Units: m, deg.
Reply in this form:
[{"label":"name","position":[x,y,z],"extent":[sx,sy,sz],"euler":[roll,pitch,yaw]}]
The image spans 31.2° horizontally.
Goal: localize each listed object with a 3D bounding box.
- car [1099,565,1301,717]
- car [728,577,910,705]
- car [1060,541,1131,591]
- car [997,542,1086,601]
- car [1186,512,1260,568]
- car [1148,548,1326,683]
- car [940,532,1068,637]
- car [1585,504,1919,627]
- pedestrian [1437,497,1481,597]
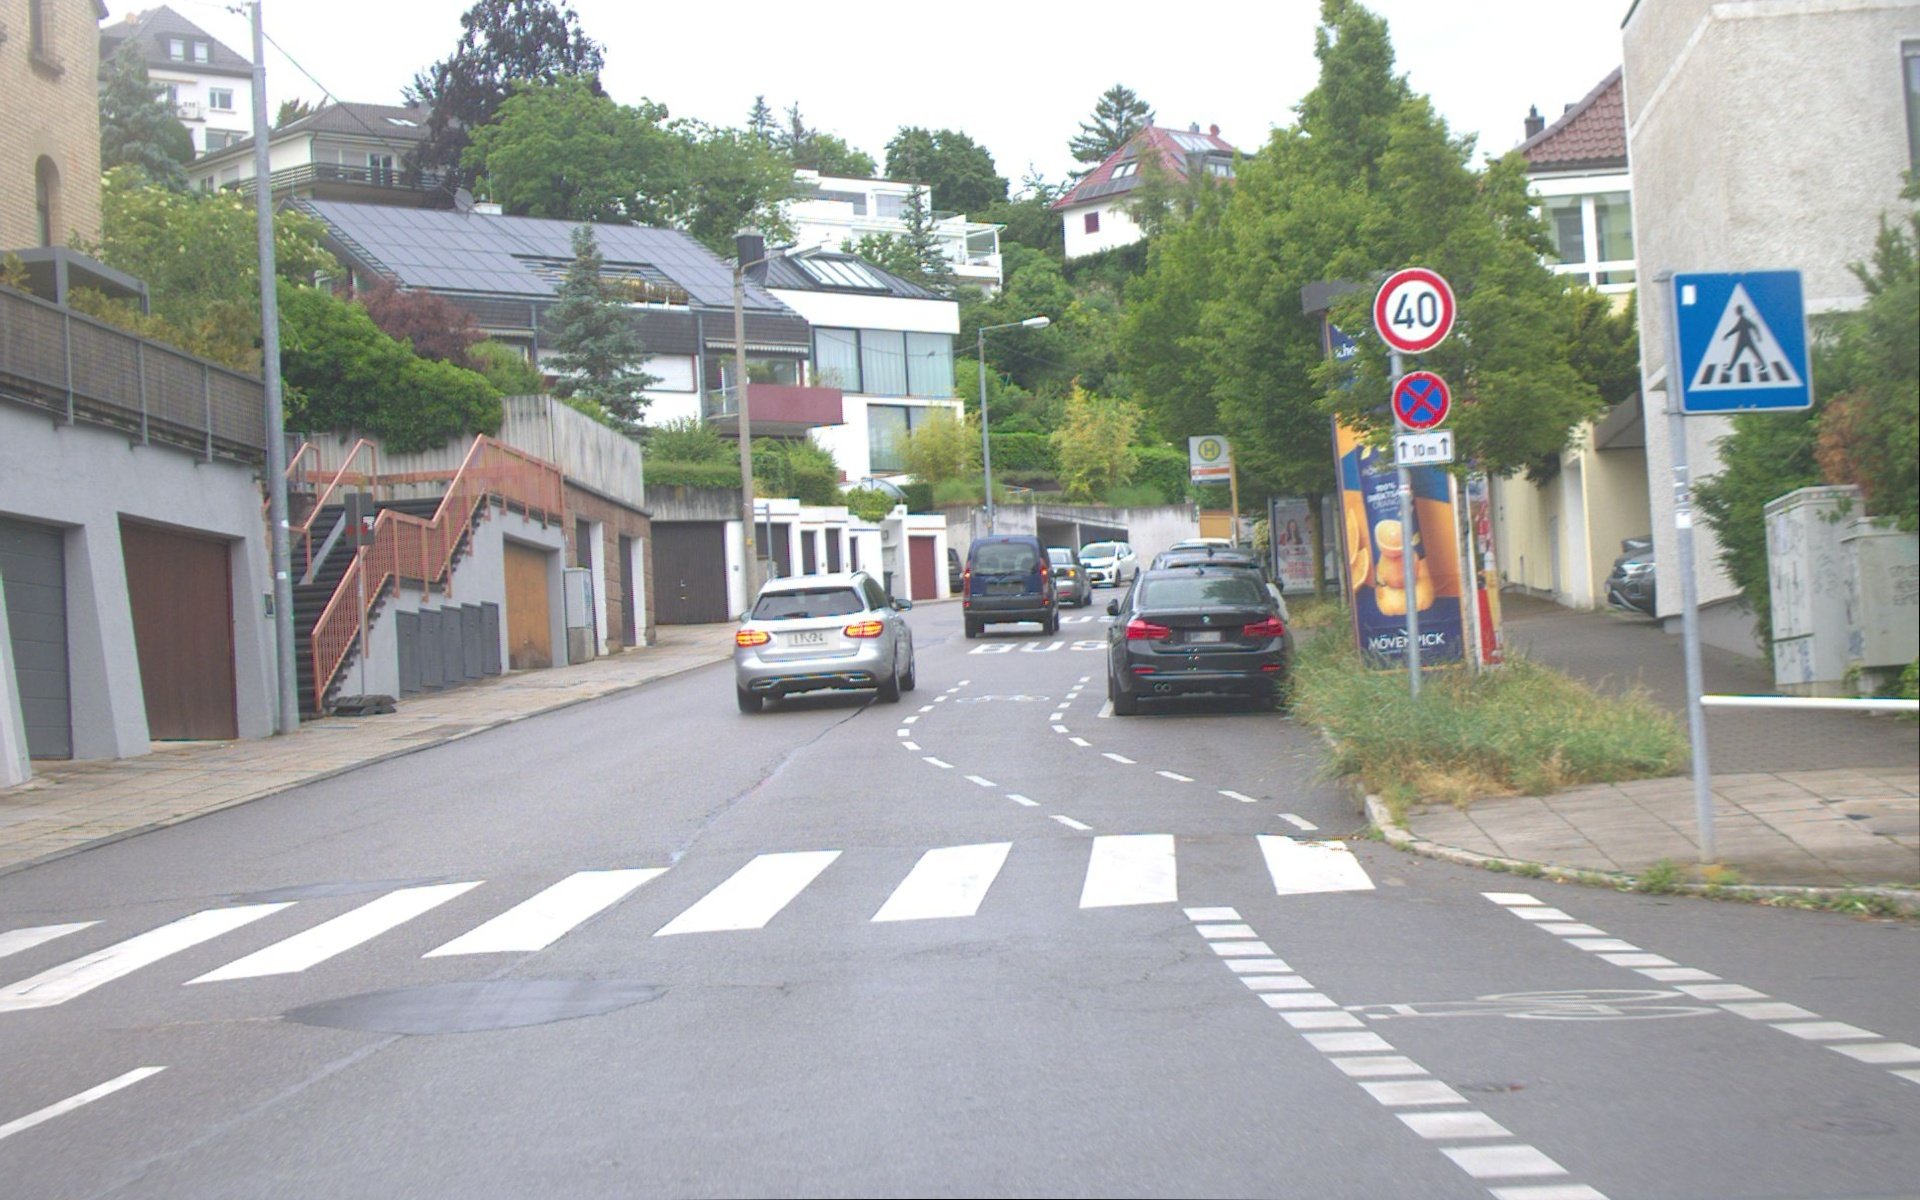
[{"label":"car","position":[2.402,0.374,35.378],"extent":[1.771,1.373,4.349],"euler":[-2,1,1]},{"label":"car","position":[-1.539,0.428,38.827],"extent":[1.811,1.356,4.000],"euler":[0,0,1]},{"label":"car","position":[4.507,-1.132,113.630],"extent":[1.729,1.601,3.547],"euler":[-1,1,12]},{"label":"car","position":[1.950,-0.683,81.018],"extent":[1.824,1.292,3.999],"euler":[-2,1,5]},{"label":"car","position":[6.217,-1.421,81.075],"extent":[1.469,1.250,3.581],"euler":[-2,1,8]},{"label":"car","position":[3.223,0.146,40.594],"extent":[1.715,1.445,3.833],"euler":[-2,1,0]},{"label":"car","position":[0.840,-0.312,63.215],"extent":[1.824,1.813,3.999],"euler":[-2,1,8]},{"label":"car","position":[10.112,-0.440,43.747],"extent":[3.990,1.410,1.723],"euler":[-2,0,19]},{"label":"pedestrian","position":[9.101,-0.968,62.713],"extent":[0.638,1.789,0.744],"euler":[-2,1,1]}]
